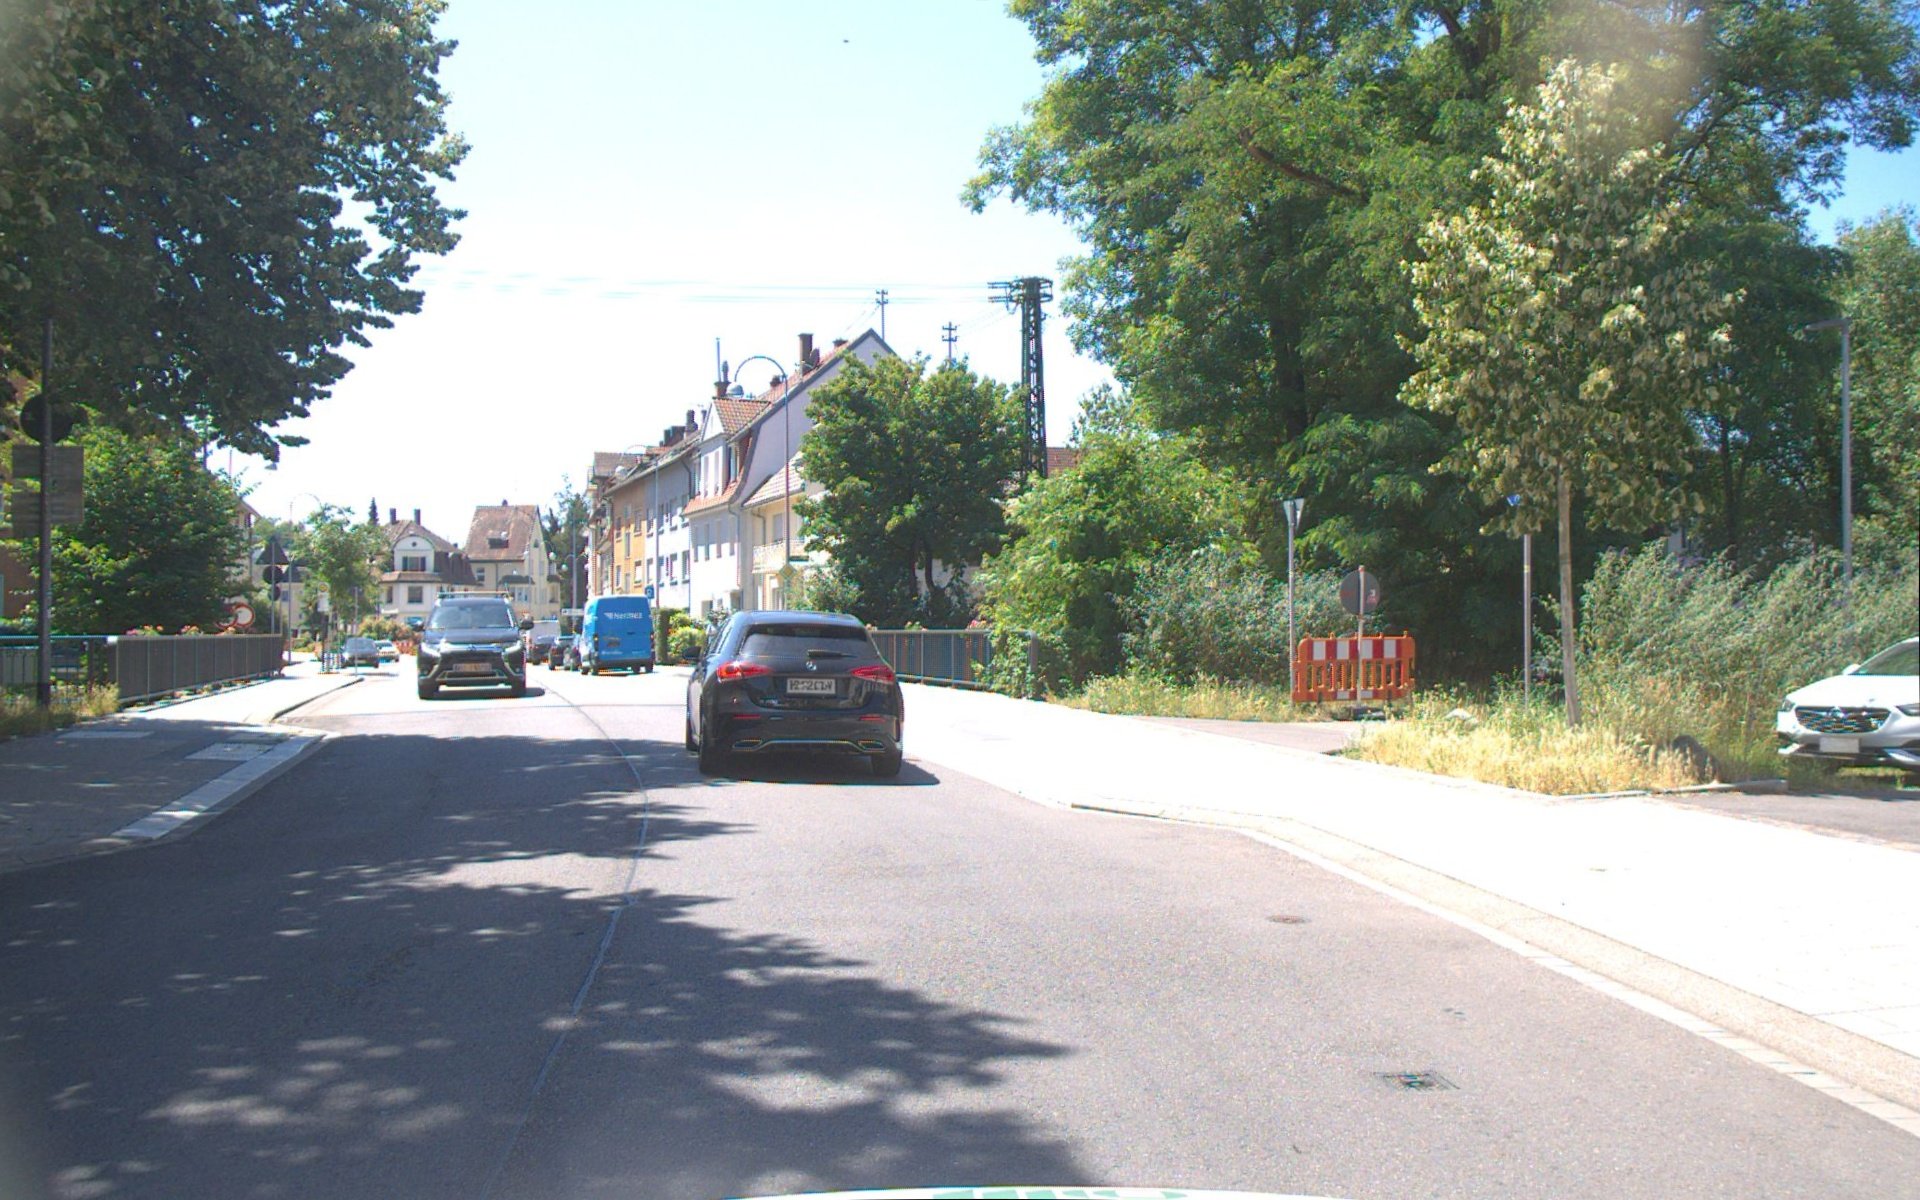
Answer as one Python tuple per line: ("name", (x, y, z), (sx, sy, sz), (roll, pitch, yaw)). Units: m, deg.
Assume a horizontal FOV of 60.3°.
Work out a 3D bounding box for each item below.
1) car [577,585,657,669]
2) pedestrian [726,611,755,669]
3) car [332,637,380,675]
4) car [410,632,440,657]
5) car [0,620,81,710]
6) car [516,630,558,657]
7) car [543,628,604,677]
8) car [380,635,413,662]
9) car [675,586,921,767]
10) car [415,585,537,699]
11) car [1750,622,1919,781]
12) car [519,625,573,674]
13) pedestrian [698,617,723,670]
("car", (-11.228, 0.884, 53.949), (2.099, 2.586, 4.625), (0, -1, -18))
("pedestrian", (-6.701, 1.220, 50.459), (0.655, 1.772, 0.693), (1, -2, -36))
("car", (-29.174, 2.692, 80.025), (1.963, 1.689, 3.979), (2, -2, -18))
("car", (-37.855, 3.126, 117.044), (1.963, 1.689, 3.979), (2, -2, -18))
("car", (-23.063, 1.550, 40.710), (1.964, 2.049, 3.976), (0, 0, -20))
("car", (-23.816, 2.447, 92.992), (1.963, 1.416, 4.306), (1, 0, -19))
("car", (-15.367, 2.048, 65.675), (1.963, 1.776, 4.306), (1, 0, -19))
("car", (-37.623, 3.213, 110.487), (1.963, 1.689, 3.979), (2, -2, -18))
("car", (-1.658, 0.730, 15.620), (1.796, 1.467, 3.985), (0, -3, -13))
("car", (-8.457, 0.689, 29.192), (1.710, 1.803, 4.324), (-2, 0, -12))
("car", (9.749, 0.951, 15.990), (4.145, 1.374, 1.841), (2, -2, -30))
("car", (-18.181, 2.136, 72.558), (1.963, 2.049, 3.978), (1, 0, -19))
("pedestrian", (-7.696, 1.335, 51.001), (0.605, 1.641, 0.832), (0, -1, -23))
